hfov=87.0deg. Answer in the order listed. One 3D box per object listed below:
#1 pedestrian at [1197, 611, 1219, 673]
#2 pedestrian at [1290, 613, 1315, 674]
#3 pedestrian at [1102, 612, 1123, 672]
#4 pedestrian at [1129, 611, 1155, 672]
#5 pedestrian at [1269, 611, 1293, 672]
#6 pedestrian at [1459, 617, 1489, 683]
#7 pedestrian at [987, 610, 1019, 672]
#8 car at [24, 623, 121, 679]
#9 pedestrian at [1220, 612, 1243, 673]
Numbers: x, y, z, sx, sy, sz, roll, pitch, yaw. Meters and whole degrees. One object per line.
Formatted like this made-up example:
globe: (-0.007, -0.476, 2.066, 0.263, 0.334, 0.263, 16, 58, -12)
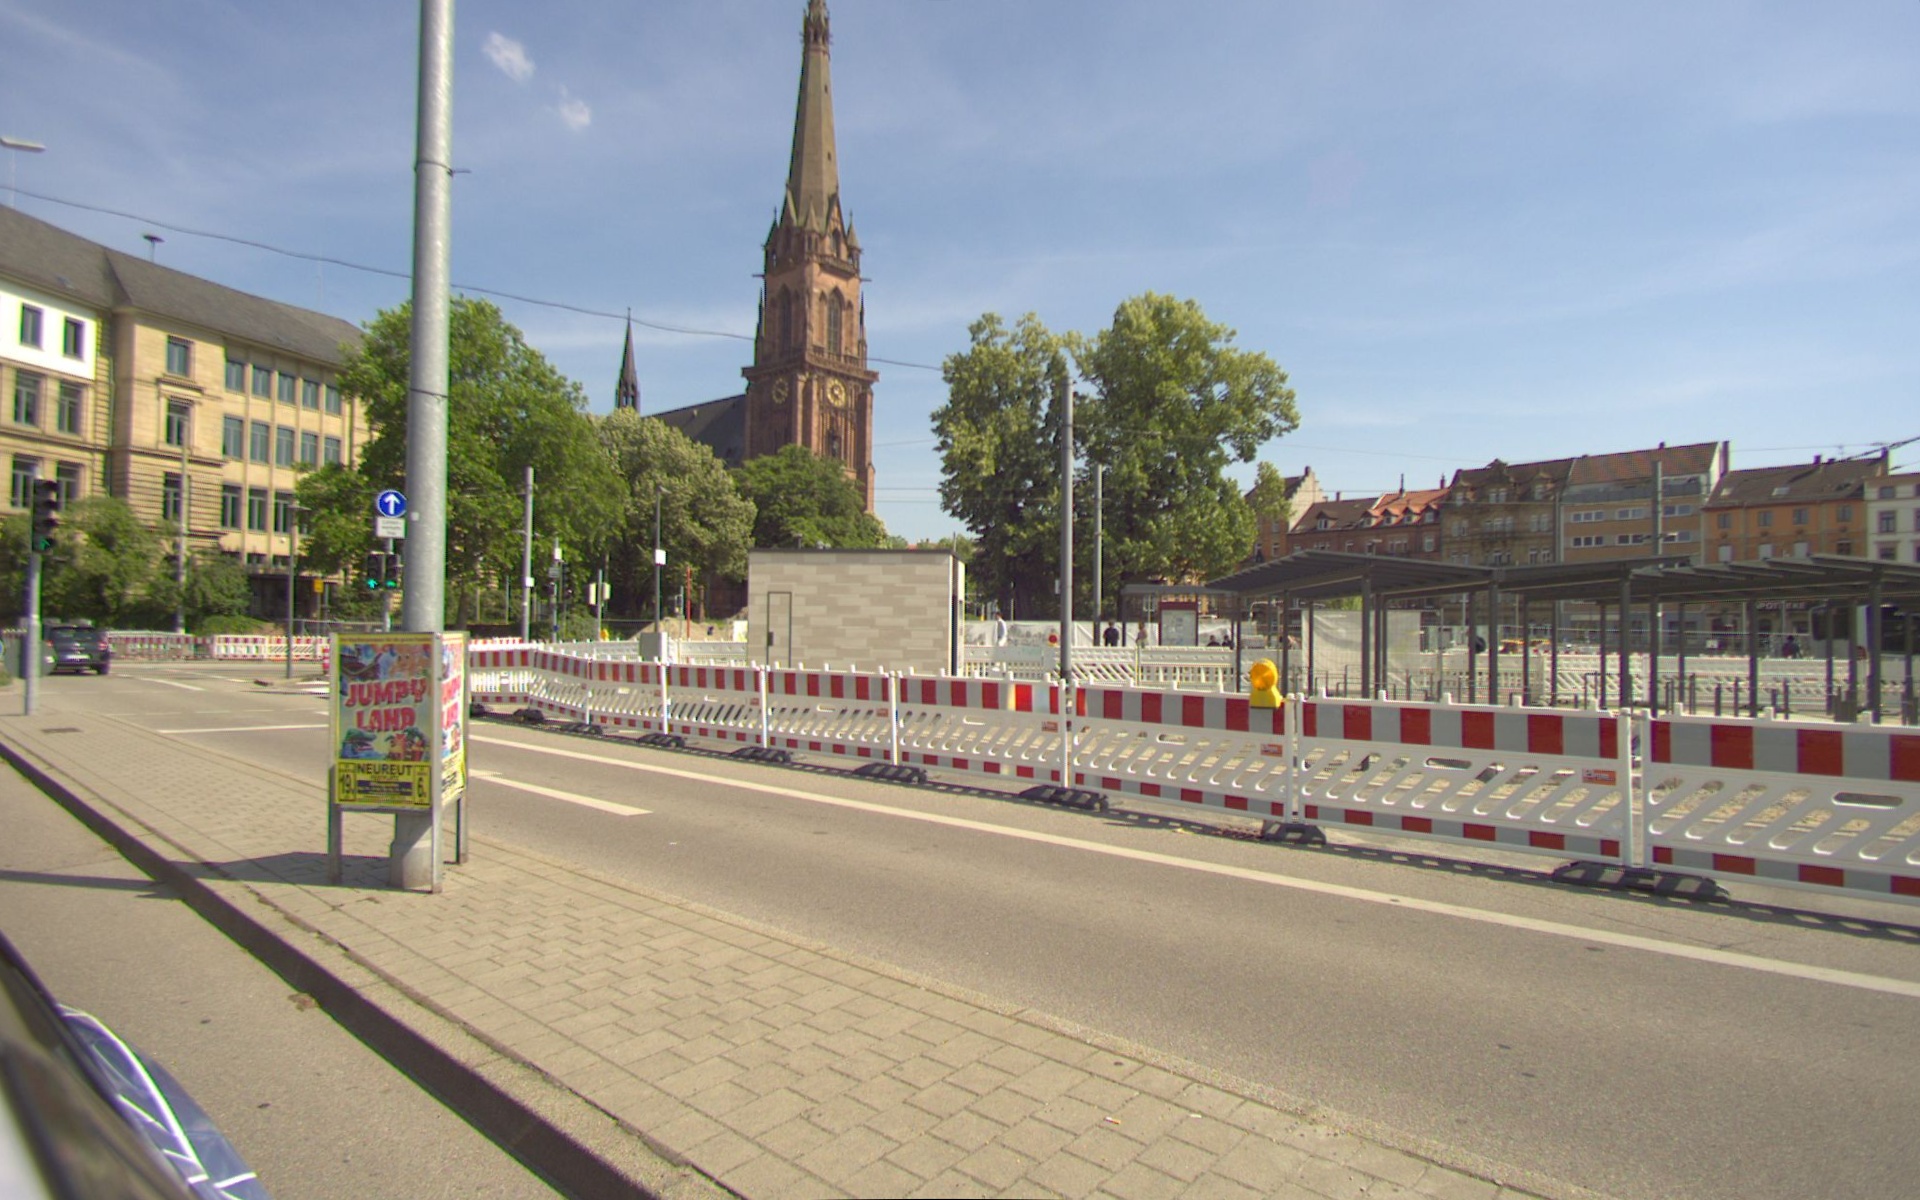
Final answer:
pedestrian: (8.321, 1.406, 33.974, 0.679, 2.029, 0.818, 0, -2, 11)
pedestrian: (11.633, 1.475, 34.379, 0.679, 2.029, 0.818, 0, -2, 11)
pedestrian: (5.247, 1.437, 34.822, 0.678, 2.029, 0.819, 0, -2, 7)
pedestrian: (6.224, 1.415, 34.621, 0.810, 2.029, 0.685, 1, -2, 6)
pedestrian: (10.886, 1.399, 34.365, 0.679, 2.029, 0.818, 0, -2, 11)
pedestrian: (16.044, 1.546, 31.590, 0.680, 2.029, 0.816, 0, -2, 16)
pedestrian: (1.419, 1.344, 33.383, 0.686, 2.029, 0.809, -1, -3, 43)
car: (-26.781, 1.513, 30.497, 3.630, 1.586, 1.644, -1, -3, 41)
pedestrian: (9.092, 1.423, 33.942, 0.679, 2.029, 0.818, 0, -2, 11)
